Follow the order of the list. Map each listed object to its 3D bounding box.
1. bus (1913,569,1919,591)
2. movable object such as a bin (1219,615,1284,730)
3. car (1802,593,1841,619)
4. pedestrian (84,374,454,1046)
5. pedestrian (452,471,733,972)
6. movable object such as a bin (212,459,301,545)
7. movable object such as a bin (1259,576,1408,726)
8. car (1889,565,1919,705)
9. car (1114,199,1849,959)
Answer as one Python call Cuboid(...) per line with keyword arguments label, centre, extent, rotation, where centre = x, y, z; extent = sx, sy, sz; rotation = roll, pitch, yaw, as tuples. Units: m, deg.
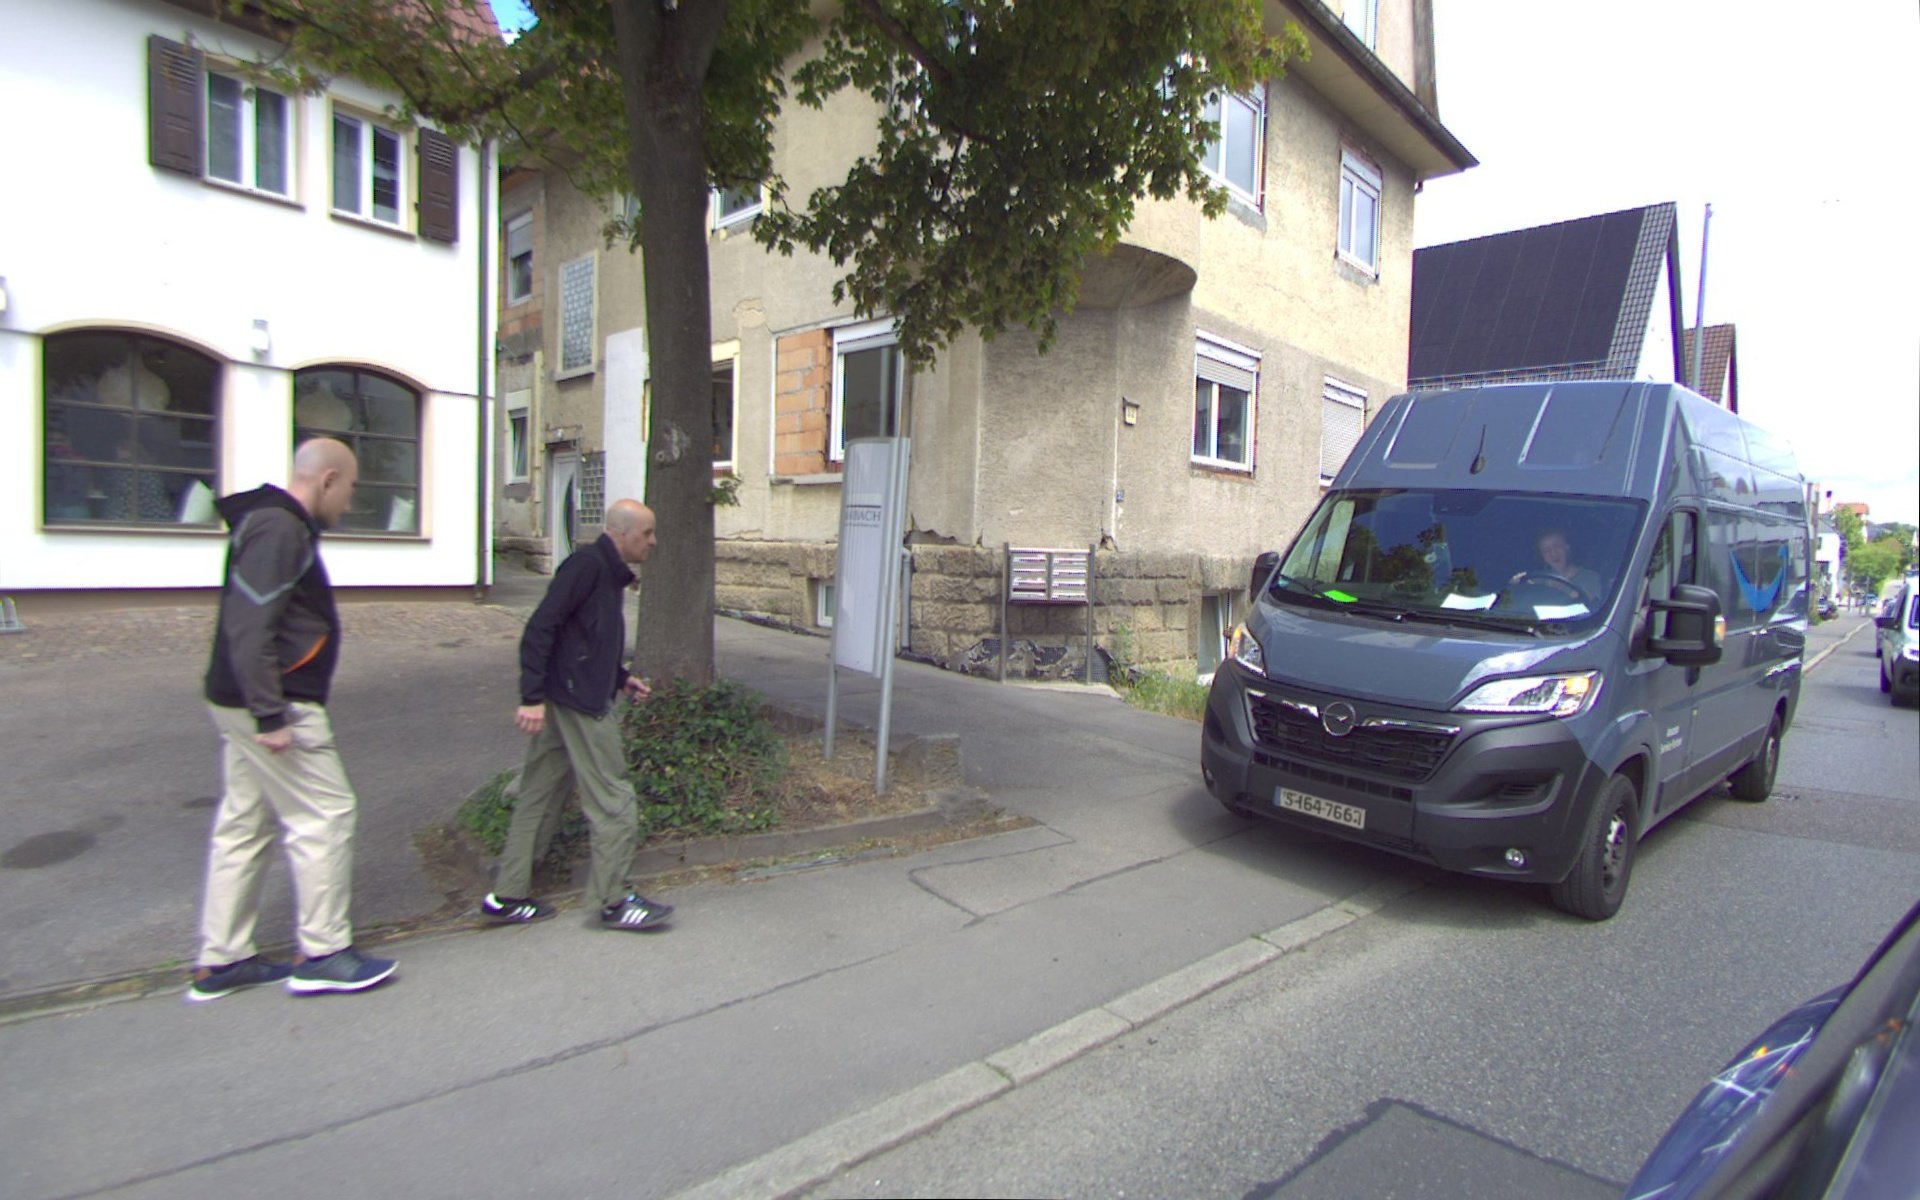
Cuboid(label="bus", centre=(149.876, -3.098, 156.720), extent=(3.125, 3.297, 9.601), rotation=(3, 2, 43))
Cuboid(label="movable object such as a bin", centre=(2.576, 0.630, 8.958), extent=(0.408, 0.949, 0.270), rotation=(7, 5, 35))
Cuboid(label="car", centre=(52.649, 0.340, 61.817), extent=(1.651, 1.438, 3.940), rotation=(5, 3, 42))
Cuboid(label="pedestrian", centre=(-2.221, 0.286, 3.281), extent=(0.883, 1.804, 0.742), rotation=(1, 2, -39))
Cuboid(label="pedestrian", centre=(-1.429, 0.391, 3.907), extent=(0.783, 1.663, 0.787), rotation=(1, 2, -38))
Cuboid(label="movable object such as a bin", centre=(-13.990, -1.962, 20.093), extent=(1.217, 1.572, 2.219), rotation=(0, 6, -41))
Cuboid(label="movable object such as a bin", centre=(3.506, 0.430, 9.647), extent=(1.169, 1.281, 1.204), rotation=(2, 2, 15))
Cuboid(label="car", centre=(14.775, 0.480, 14.576), extent=(1.865, 1.838, 4.932), rotation=(3, 2, 41))
Cuboid(label="car", centre=(3.846, -0.110, 6.604), extent=(6.141, 2.805, 2.151), rotation=(0, 2, -42))
